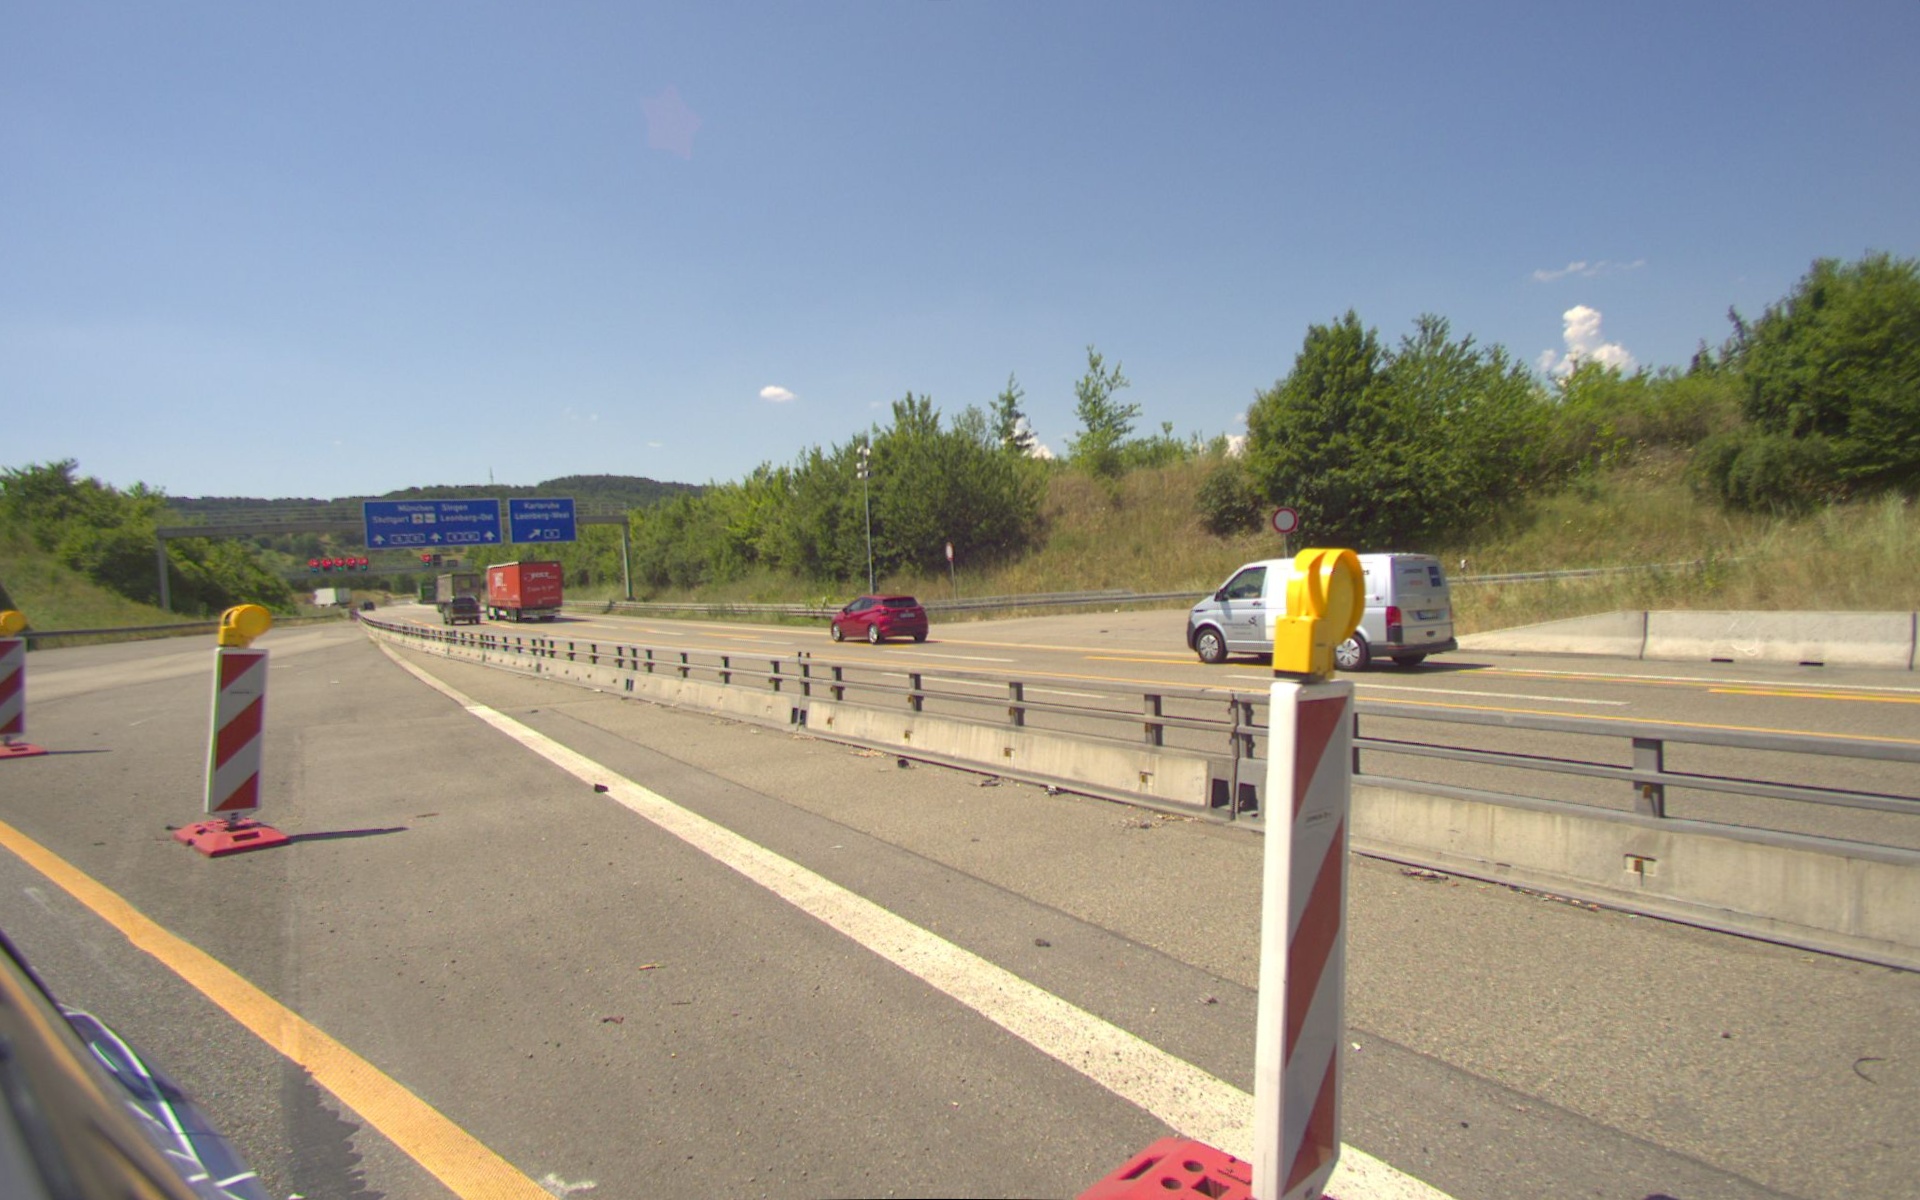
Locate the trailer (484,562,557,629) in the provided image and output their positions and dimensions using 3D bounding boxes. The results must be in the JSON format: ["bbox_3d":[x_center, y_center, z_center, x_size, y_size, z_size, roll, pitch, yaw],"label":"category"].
[{"bbox_3d":[-30.440,-0.321,69.713,2.306,4.132,13.299,-4,2,-33],"label":"trailer"}]

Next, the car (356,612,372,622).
[{"bbox_3d":[-94.025,2.663,159.554,1.694,1.502,3.696,-4,2,-36],"label":"car"}]

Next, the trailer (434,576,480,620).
[{"bbox_3d":[-53.522,-0.178,107.446,2.403,4.328,13.846,-4,2,-34],"label":"trailer"}]

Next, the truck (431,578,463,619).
[{"bbox_3d":[-57.451,-0.162,113.289,2.399,4.301,4.851,-4,2,-34],"label":"truck"}]

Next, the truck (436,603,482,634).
[{"bbox_3d":[-33.564,1.224,67.750,1.967,1.887,4.773,-4,1,-35],"label":"truck"}]

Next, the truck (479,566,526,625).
[{"bbox_3d":[-34.208,-0.326,75.592,2.303,4.138,5.031,-4,2,-33],"label":"truck"}]

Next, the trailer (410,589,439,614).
[{"bbox_3d":[-101.832,0.171,192.316,3.499,4.301,13.948,-5,3,-32],"label":"trailer"}]

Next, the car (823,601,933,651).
[{"bbox_3d":[-2.569,0.741,30.869,1.664,1.405,4.011,-1,1,-32],"label":"car"}]

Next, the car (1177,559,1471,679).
[{"bbox_3d":[6.241,0.280,17.937,1.665,1.848,4.799,-1,1,-35],"label":"car"}]

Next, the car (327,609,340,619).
[{"bbox_3d":[-112.198,2.490,181.234,1.693,1.635,4.180,-5,2,-35],"label":"car"}]
